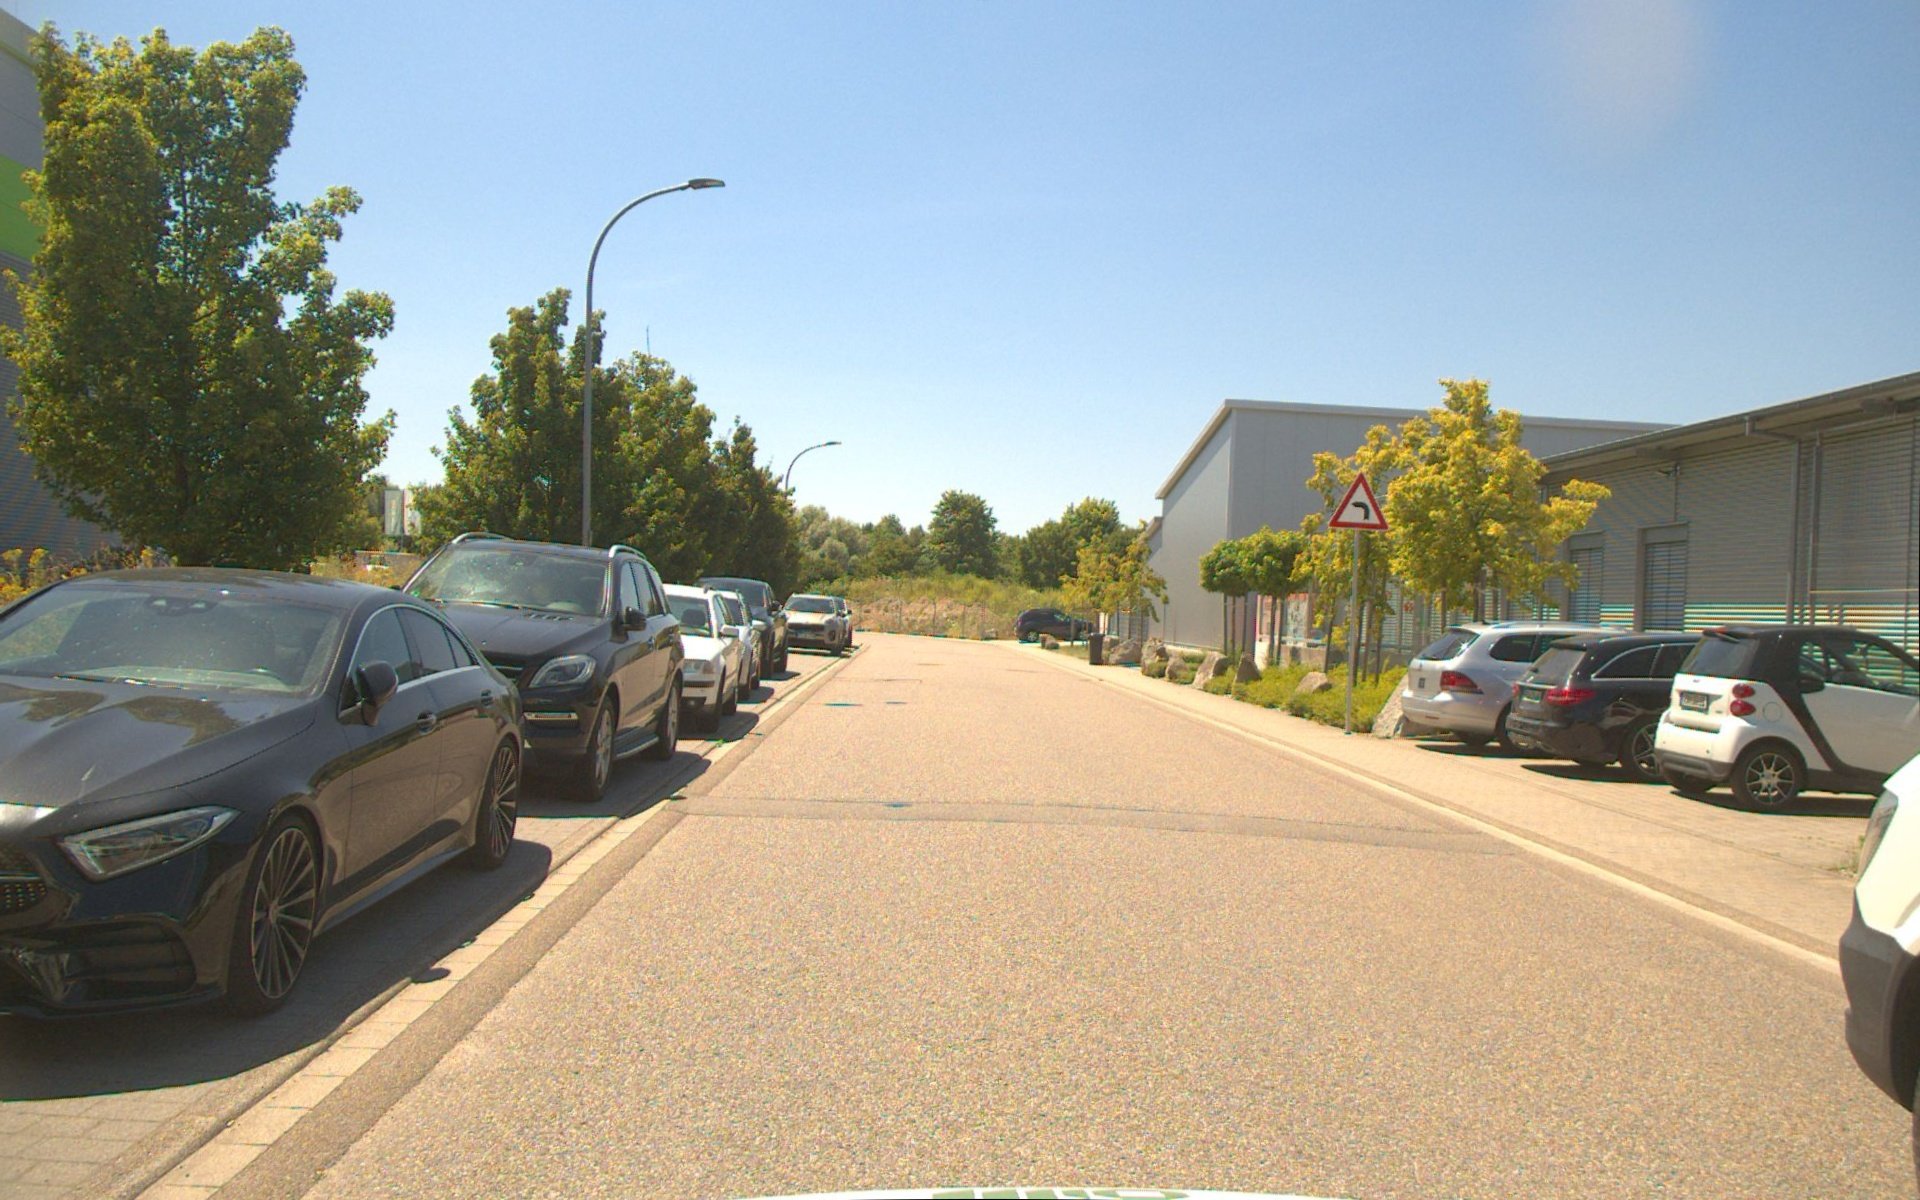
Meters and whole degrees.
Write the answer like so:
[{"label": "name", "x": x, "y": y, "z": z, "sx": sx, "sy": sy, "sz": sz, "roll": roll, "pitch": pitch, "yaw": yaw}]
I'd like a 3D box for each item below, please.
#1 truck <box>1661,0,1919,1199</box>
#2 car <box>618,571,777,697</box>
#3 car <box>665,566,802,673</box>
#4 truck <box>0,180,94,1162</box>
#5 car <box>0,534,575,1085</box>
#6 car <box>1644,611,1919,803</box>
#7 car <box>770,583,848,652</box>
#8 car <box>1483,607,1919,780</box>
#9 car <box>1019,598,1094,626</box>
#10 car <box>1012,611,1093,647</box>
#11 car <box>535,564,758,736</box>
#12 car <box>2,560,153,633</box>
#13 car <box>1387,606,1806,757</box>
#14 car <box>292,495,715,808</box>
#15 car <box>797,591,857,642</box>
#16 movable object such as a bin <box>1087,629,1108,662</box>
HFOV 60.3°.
[{"label": "truck", "x": 3.403, "y": 0.048, "z": 1.588, "sx": 2.407, "sy": 3.261, "sz": 6.881, "roll": 2, "pitch": 0, "yaw": 0}, {"label": "car", "x": -3.777, "y": 0.449, "z": 24.594, "sx": 1.815, "sy": 1.545, "sz": 5.162, "roll": 4, "pitch": 0, "yaw": -5}, {"label": "car", "x": -4.195, "y": 0.341, "z": 31.410, "sx": 1.952, "sy": 1.743, "sz": 5.005, "roll": 4, "pitch": 0, "yaw": -2}, {"label": "truck", "x": -3.003, "y": 0.141, "z": 1.680, "sx": 1.815, "sy": 2.261, "sz": 4.643, "roll": 4, "pitch": 0, "yaw": -3}, {"label": "car", "x": -3.046, "y": 0.534, "z": 6.901, "sx": 1.814, "sy": 1.468, "sz": 4.751, "roll": 4, "pitch": 0, "yaw": -2}, {"label": "car", "x": 7.752, "y": 0.930, "z": 14.795, "sx": 2.651, "sy": 1.568, "sz": 1.412, "roll": 2, "pitch": 0, "yaw": -1}, {"label": "car", "x": -4.259, "y": 0.476, "z": 47.258, "sx": 1.874, "sy": 1.743, "sz": 4.411, "roll": 4, "pitch": 0, "yaw": -2}, {"label": "car", "x": 7.499, "y": 0.911, "z": 17.001, "sx": 3.617, "sy": 1.568, "sz": 1.913, "roll": 2, "pitch": 0, "yaw": -1}, {"label": "car", "x": 5.315, "y": 0.649, "z": 91.491, "sx": 3.930, "sy": 1.487, "sz": 1.891, "roll": 0, "pitch": 0, "yaw": -3}, {"label": "car", "x": 4.744, "y": 1.468, "z": 85.002, "sx": 3.930, "sy": 1.684, "sz": 1.857, "roll": -2, "pitch": 0, "yaw": -3}, {"label": "car", "x": -3.337, "y": 0.476, "z": 18.506, "sx": 1.815, "sy": 1.545, "sz": 4.900, "roll": 4, "pitch": 0, "yaw": -5}, {"label": "car", "x": -18.187, "y": -0.073, "z": 34.219, "sx": 1.402, "sy": 1.375, "sz": 3.237, "roll": 3, "pitch": 0, "yaw": -2}, {"label": "car", "x": 7.412, "y": 0.918, "z": 19.557, "sx": 4.192, "sy": 1.568, "sz": 1.913, "roll": 2, "pitch": 0, "yaw": -1}, {"label": "car", "x": -3.167, "y": 0.320, "z": 12.643, "sx": 1.814, "sy": 1.789, "sz": 4.985, "roll": 4, "pitch": 0, "yaw": -1}, {"label": "car", "x": -4.724, "y": 0.579, "z": 59.470, "sx": 1.874, "sy": 1.684, "sz": 4.752, "roll": 3, "pitch": 0, "yaw": -2}, {"label": "movable object such as a bin", "x": 4.171, "y": 1.385, "z": 50.065, "sx": 0.547, "sy": 0.963, "sz": 0.539, "roll": 2, "pitch": -1, "yaw": -4}]
